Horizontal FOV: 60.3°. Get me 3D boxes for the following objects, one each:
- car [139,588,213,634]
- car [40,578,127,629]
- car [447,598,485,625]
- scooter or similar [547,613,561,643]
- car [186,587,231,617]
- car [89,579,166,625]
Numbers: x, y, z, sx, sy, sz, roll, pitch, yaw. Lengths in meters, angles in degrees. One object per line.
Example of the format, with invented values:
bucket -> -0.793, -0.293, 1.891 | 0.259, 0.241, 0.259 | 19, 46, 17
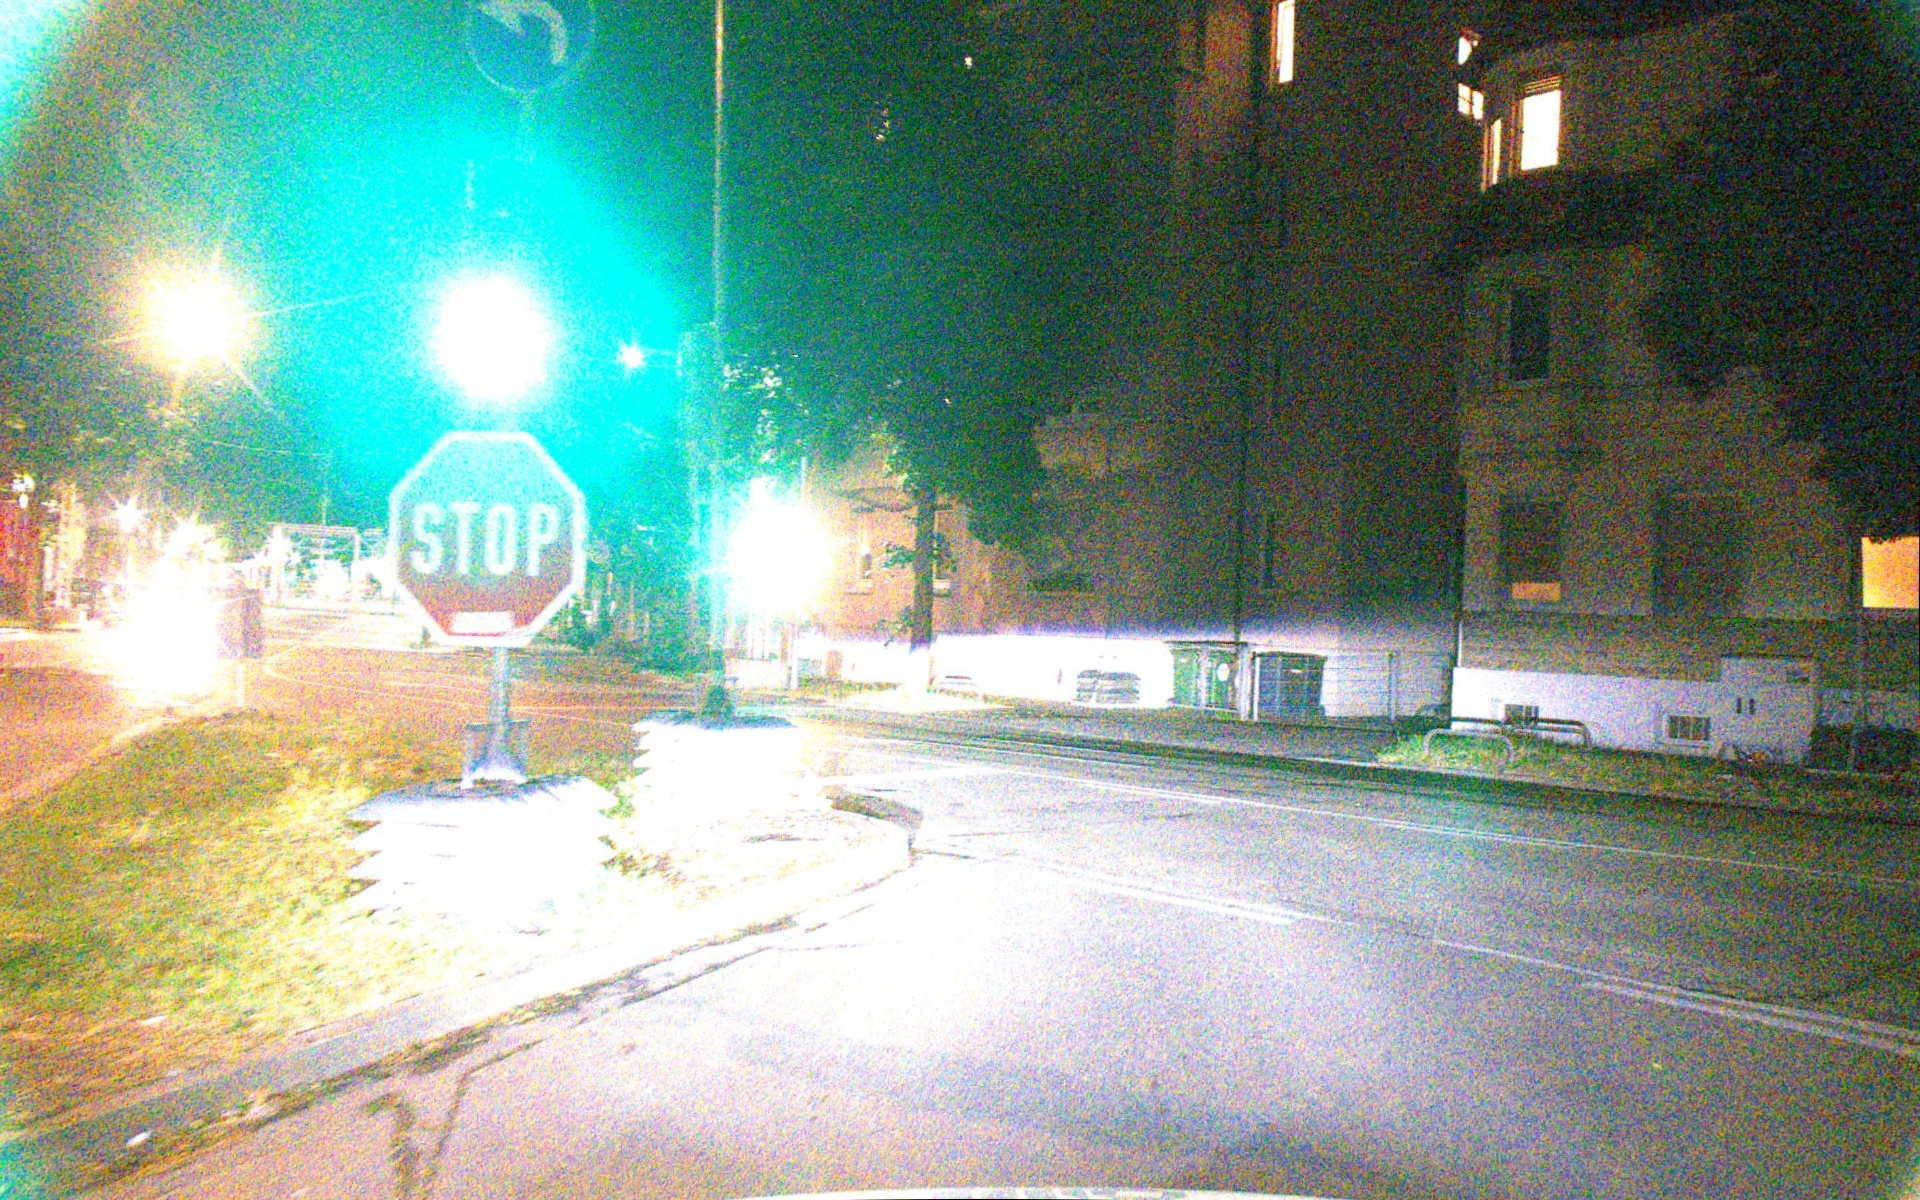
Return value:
car -> -26.119, 0.347, 55.220 | 1.689, 1.454, 3.979 | 1, 0, -18
car -> -28.946, 0.119, 54.727 | 1.566, 1.517, 3.685 | 6, -2, -14
car -> -30.122, 0.679, 100.747 | 1.710, 1.485, 4.695 | 4, -1, -23
scooter or similar -> -16.256, 1.122, 66.175 | 0.414, 1.150, 1.489 | 2, -1, -11
car -> -39.966, 0.075, 87.972 | 1.758, 1.440, 4.102 | 5, -1, -20
car -> -31.518, 0.075, 62.725 | 1.756, 1.517, 4.309 | 6, -2, -17
